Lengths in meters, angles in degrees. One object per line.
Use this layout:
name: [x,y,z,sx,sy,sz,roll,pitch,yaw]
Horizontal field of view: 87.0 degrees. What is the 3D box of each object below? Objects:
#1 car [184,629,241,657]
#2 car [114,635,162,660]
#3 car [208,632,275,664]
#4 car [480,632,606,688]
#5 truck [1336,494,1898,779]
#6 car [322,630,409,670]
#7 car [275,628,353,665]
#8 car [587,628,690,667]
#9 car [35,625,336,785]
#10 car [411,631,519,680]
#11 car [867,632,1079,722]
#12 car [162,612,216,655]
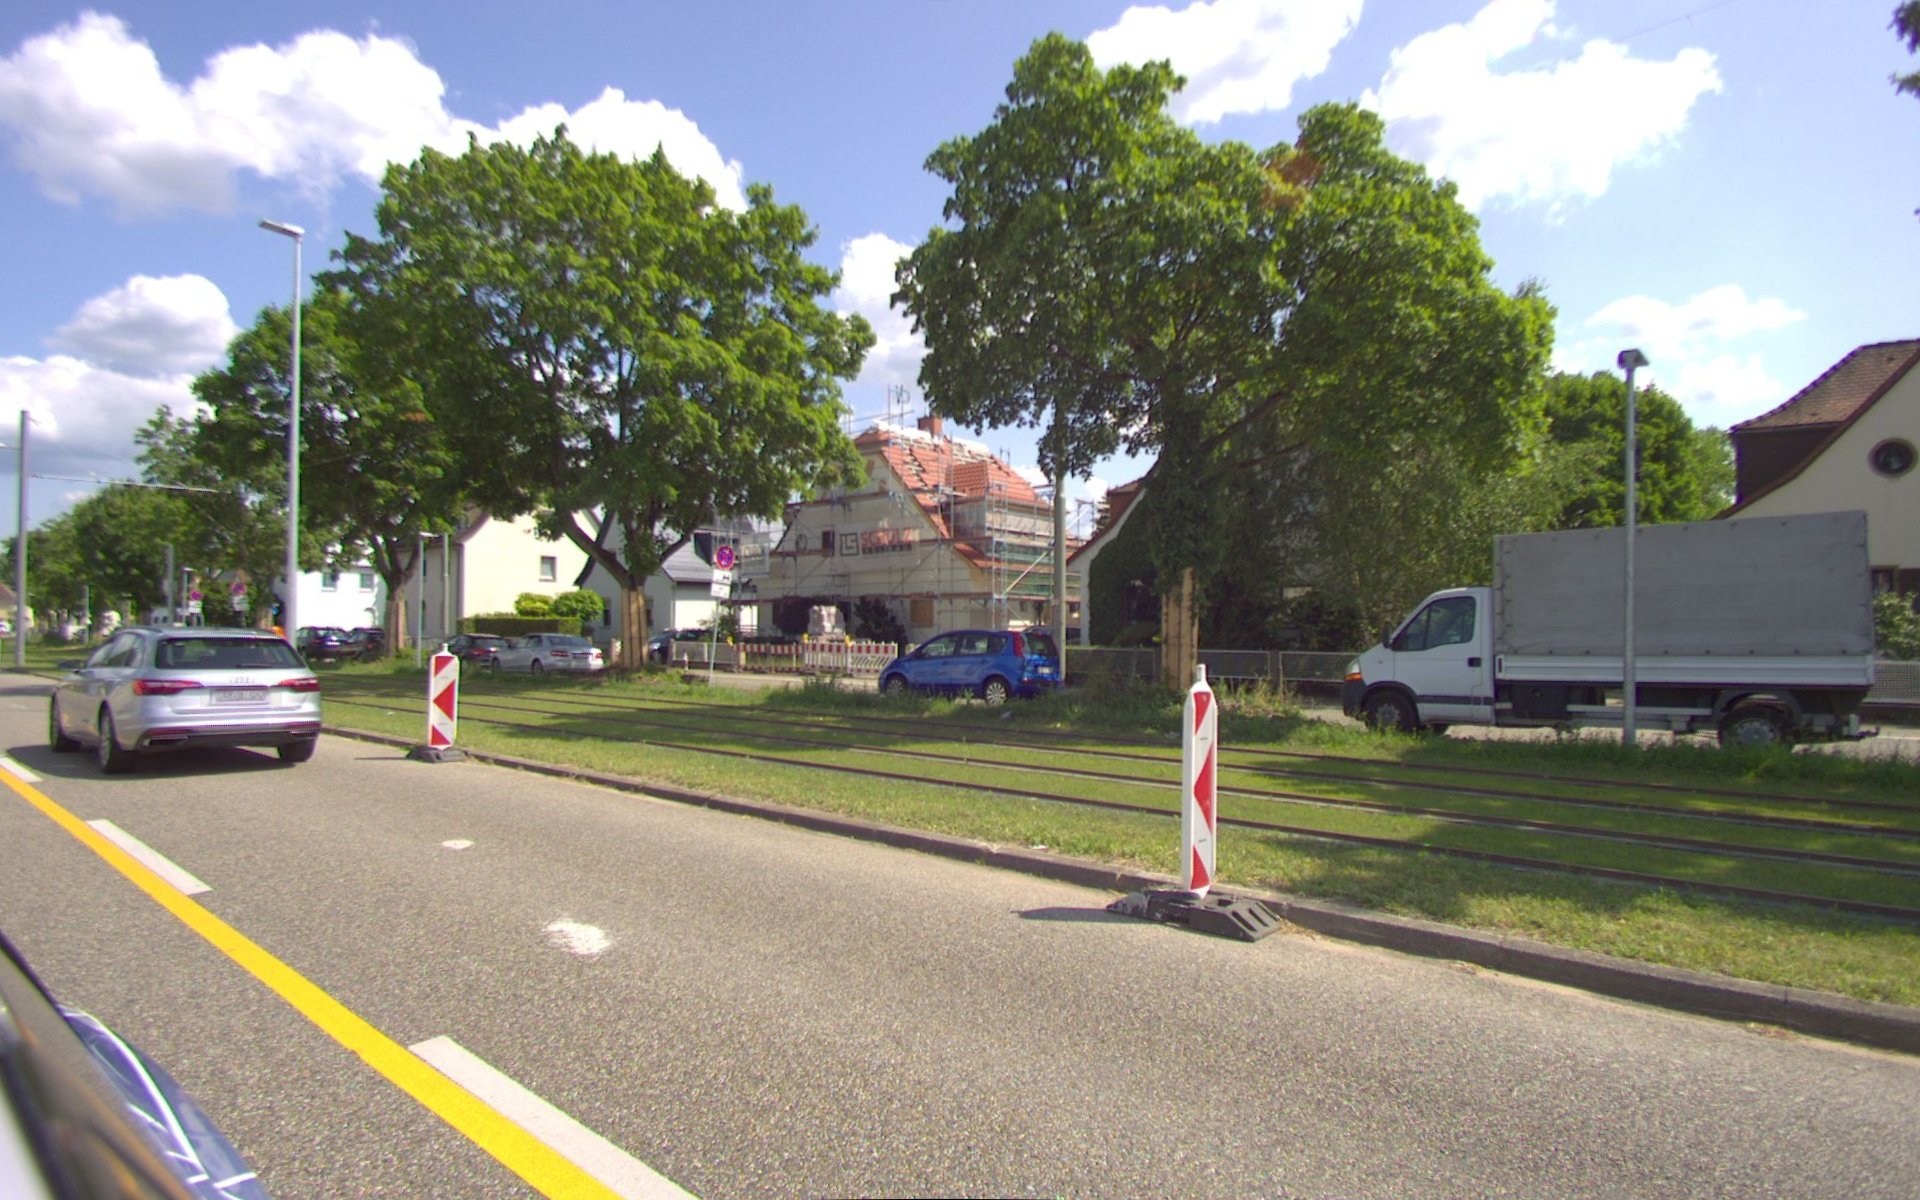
car: [-44.643,2.560,60.409,4.603,1.623,1.733,-2,-3,40]
car: [-57.021,3.275,70.154,4.603,1.623,1.733,-2,-3,40]
car: [-37.642,2.475,52.984,4.603,1.623,1.733,-2,-3,40]
car: [-13.171,1.836,31.865,4.603,1.623,1.733,-2,-3,40]
truck: [8.276,0.470,13.360,5.871,3.010,1.982,-2,-3,41]
car: [-25.181,2.080,42.831,4.603,1.623,1.733,-2,-3,40]
car: [-29.600,2.105,46.335,4.603,1.623,1.733,-2,-3,40]
car: [-14.088,2.054,44.519,1.756,1.623,3.995,-2,-3,41]
car: [-8.593,1.008,11.096,4.258,1.424,1.733,-2,-3,40]
car: [-17.612,1.921,35.936,4.603,1.623,1.733,-2,-3,40]
car: [0.193,1.448,20.164,4.047,1.623,1.733,-2,-3,40]
car: [-48.857,2.114,64.124,4.603,2.636,1.733,-2,-3,40]
